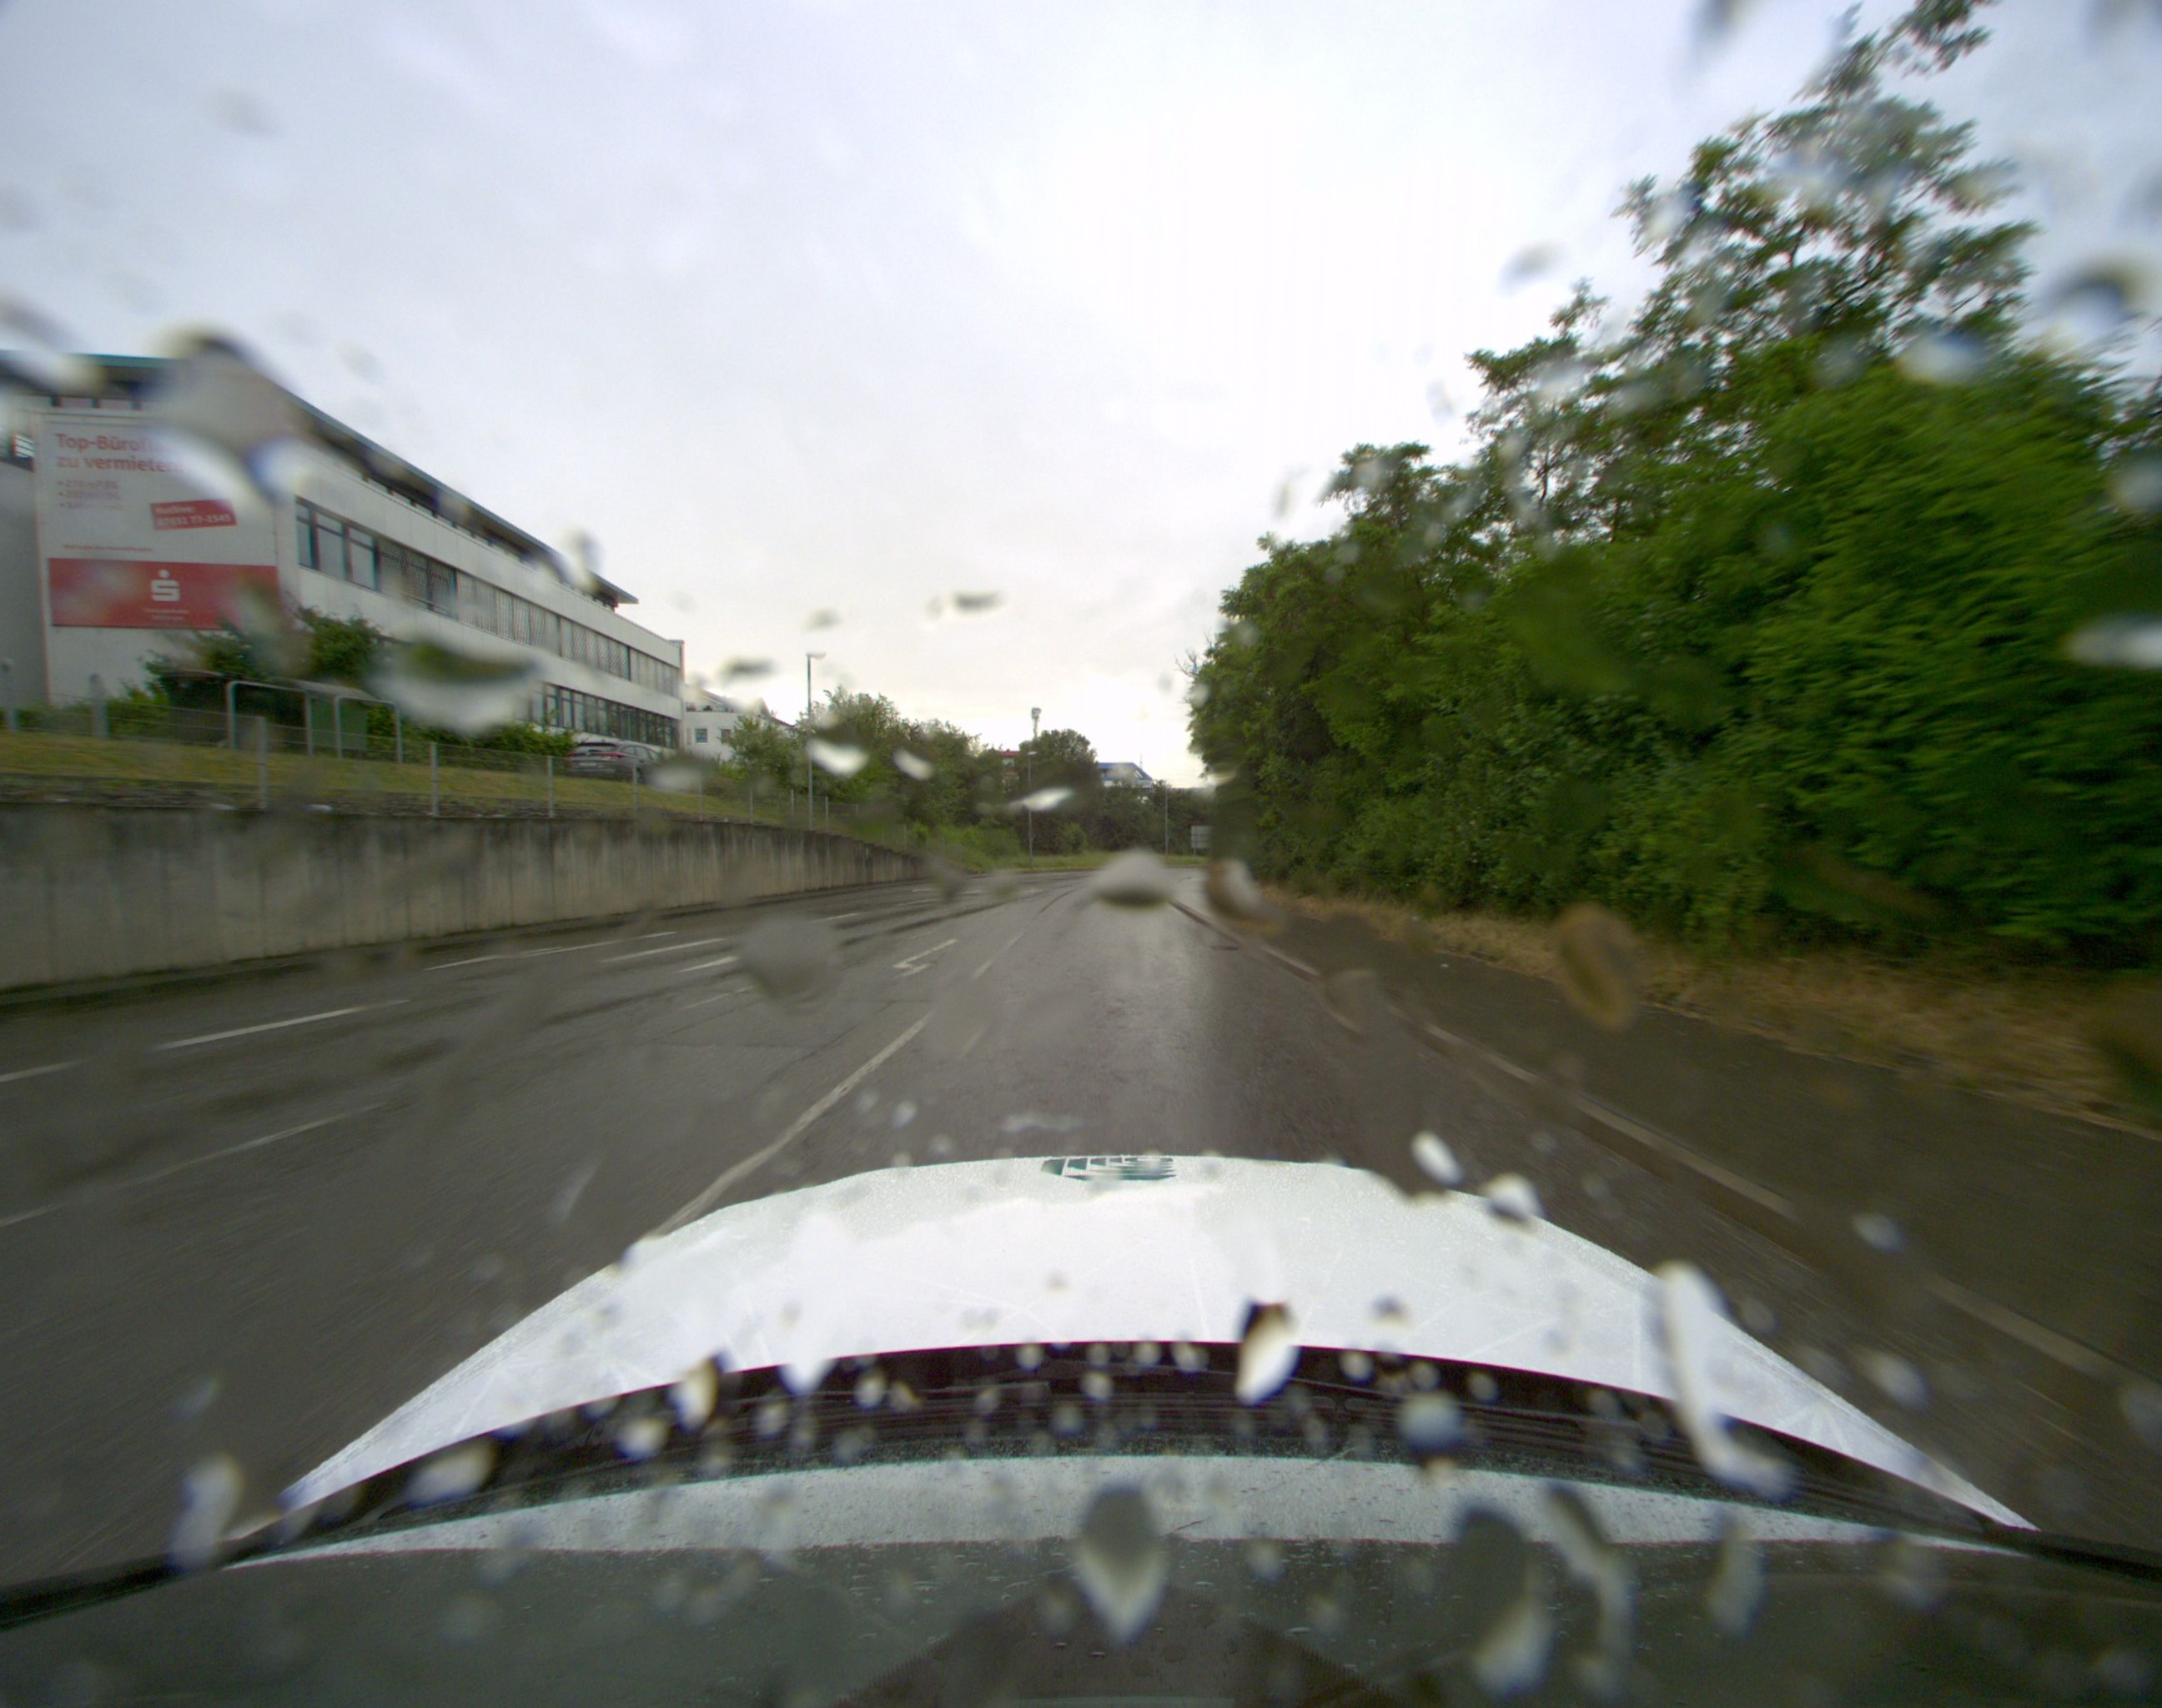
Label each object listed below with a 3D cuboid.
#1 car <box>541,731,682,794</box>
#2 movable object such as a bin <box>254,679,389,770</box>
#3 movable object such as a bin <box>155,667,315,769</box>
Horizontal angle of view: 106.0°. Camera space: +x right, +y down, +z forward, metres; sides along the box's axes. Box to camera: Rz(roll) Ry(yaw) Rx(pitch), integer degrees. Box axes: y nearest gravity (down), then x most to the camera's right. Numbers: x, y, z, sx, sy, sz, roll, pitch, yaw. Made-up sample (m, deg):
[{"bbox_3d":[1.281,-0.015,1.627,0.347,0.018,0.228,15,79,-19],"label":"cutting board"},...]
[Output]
[{"bbox_3d":[-13.922,-2.672,24.461,1.821,1.442,4.001,1,0,1],"label":"car"},{"bbox_3d":[-13.853,-2.330,14.914,1.080,1.437,1.447,1,0,1],"label":"movable object such as a bin"},{"bbox_3d":[-13.886,-2.201,13.433,1.080,1.437,1.447,1,0,1],"label":"movable object such as a bin"}]
